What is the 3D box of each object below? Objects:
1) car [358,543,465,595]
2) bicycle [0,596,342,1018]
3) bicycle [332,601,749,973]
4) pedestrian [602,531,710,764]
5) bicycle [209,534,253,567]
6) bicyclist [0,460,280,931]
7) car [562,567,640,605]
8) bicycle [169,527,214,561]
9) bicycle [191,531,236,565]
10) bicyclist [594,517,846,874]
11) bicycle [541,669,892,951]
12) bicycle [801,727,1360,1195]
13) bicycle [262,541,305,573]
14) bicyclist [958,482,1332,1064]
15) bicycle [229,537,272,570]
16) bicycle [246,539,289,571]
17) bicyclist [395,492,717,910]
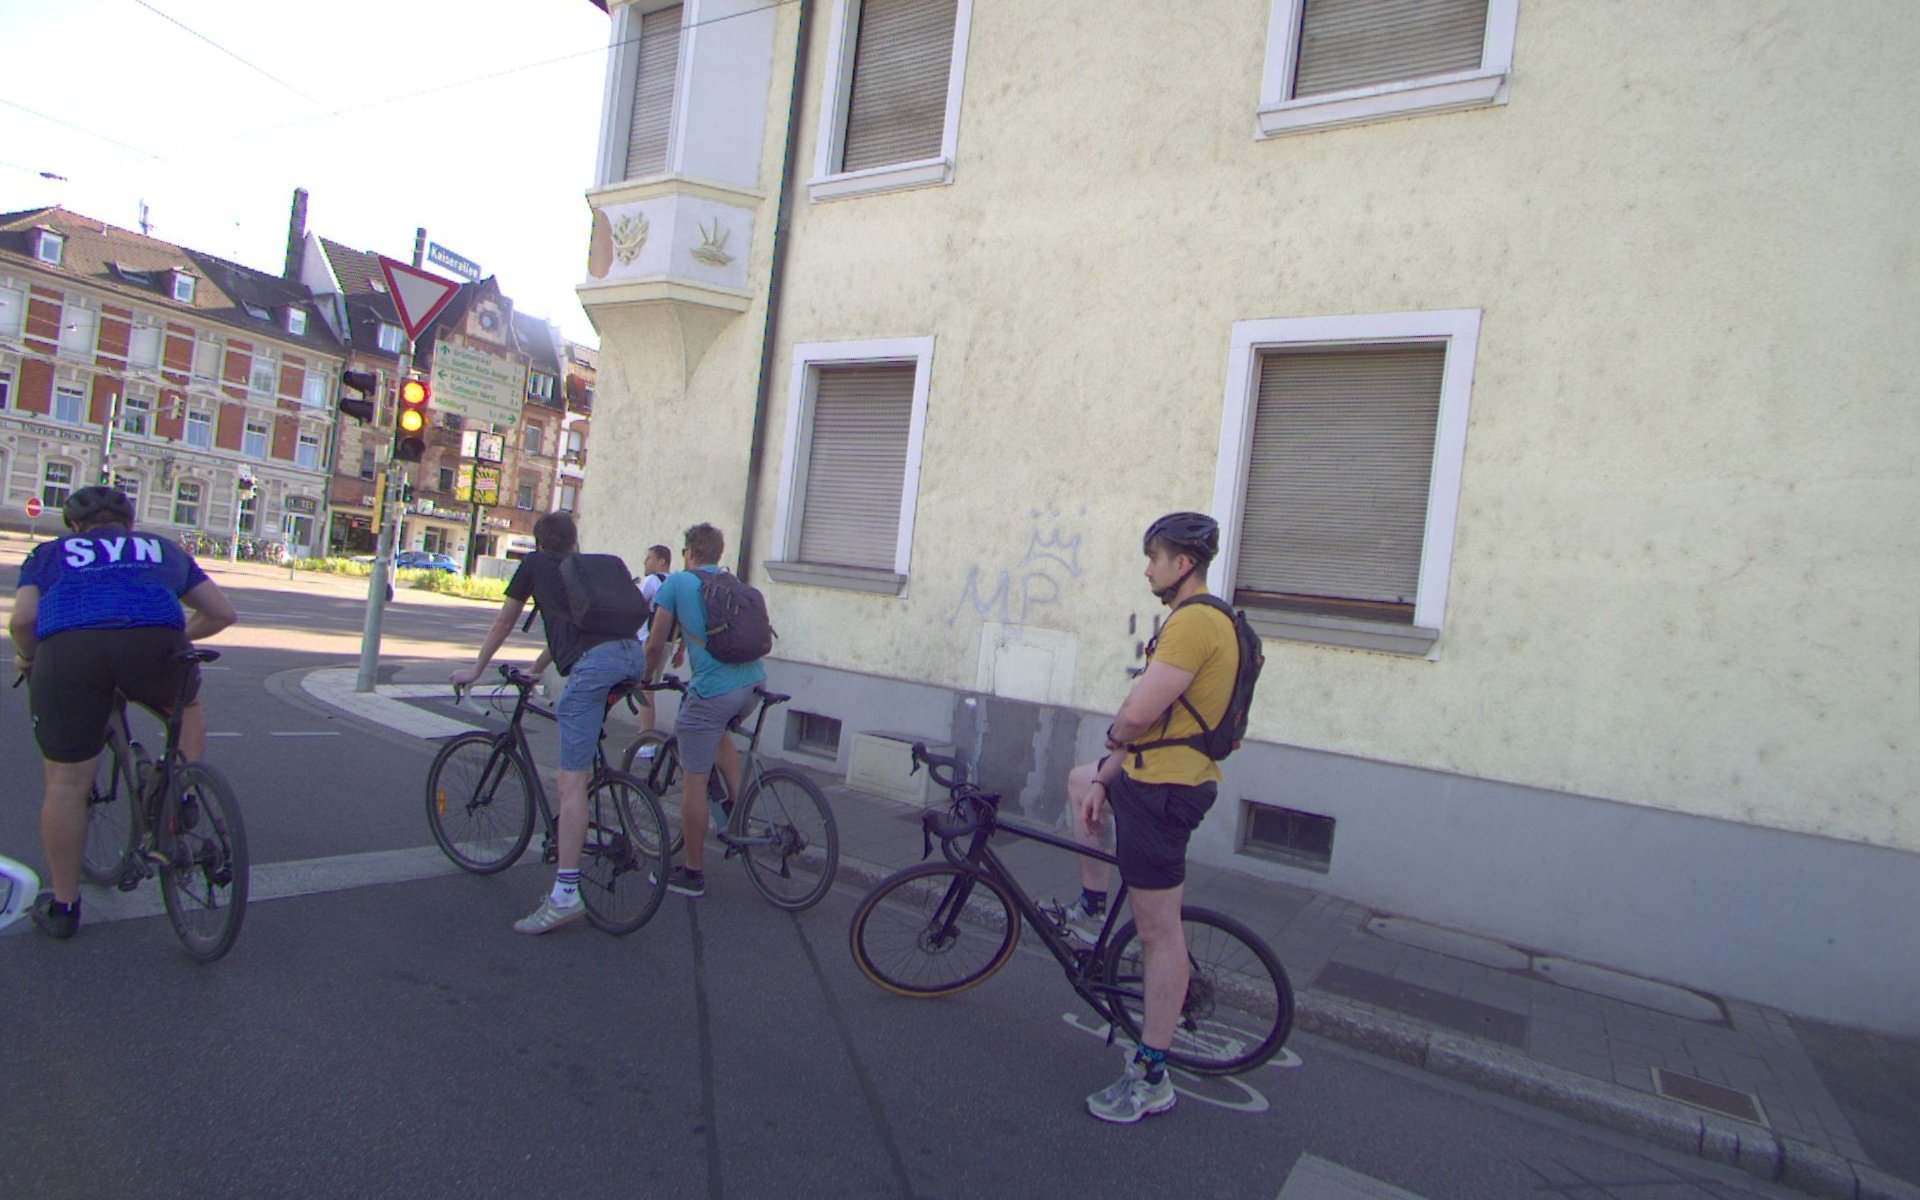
[{"bbox_3d":[-25.494,-1.419,46.865,1.967,1.798,3.790,6,-2,31],"label":"car"},{"bbox_3d":[-3.035,0.623,3.647,1.676,1.097,0.627,6,-1,35],"label":"bicycle"},{"bbox_3d":[-1.915,0.741,4.547,1.674,1.251,0.756,6,-1,30],"label":"bicycle"},{"bbox_3d":[-2.437,0.368,8.117,0.631,1.780,0.584,4,3,-7],"label":"pedestrian"},{"bbox_3d":[-33.834,-2.318,46.692,2.618,1.301,0.629,6,-1,33],"label":"bicycle"},{"bbox_3d":[-3.182,0.308,3.759,0.869,1.512,0.639,9,0,36],"label":"bicyclist"},{"bbox_3d":[-23.247,-0.879,65.287,1.967,1.798,4.374,6,-2,31],"label":"car"},{"bbox_3d":[-34.700,-2.543,45.409,2.618,1.301,0.693,6,-1,33],"label":"bicycle"},{"bbox_3d":[-34.200,-2.392,46.068,2.618,1.301,0.693,6,-1,33],"label":"bicycle"},{"bbox_3d":[-1.248,0.462,5.262,0.869,1.652,0.690,6,-1,34],"label":"bicyclist"},{"bbox_3d":[-1.300,1.001,5.237,1.742,1.043,0.650,6,-1,33],"label":"bicycle"},{"bbox_3d":[0.392,1.117,3.633,1.751,1.043,0.756,6,-2,33],"label":"bicycle"},{"bbox_3d":[-32.682,-2.076,48.583,2.618,1.301,0.629,6,-1,33],"label":"bicycle"},{"bbox_3d":[0.668,0.516,3.513,0.869,1.682,0.807,6,-1,32],"label":"bicyclist"},{"bbox_3d":[-33.419,-2.214,47.364,2.618,1.301,0.629,6,-1,33],"label":"bicycle"},{"bbox_3d":[-33.052,-2.153,47.993,2.618,1.301,0.629,6,-1,33],"label":"bicycle"},{"bbox_3d":[-1.801,0.413,4.539,0.868,1.625,0.807,6,-1,30],"label":"bicyclist"}]
